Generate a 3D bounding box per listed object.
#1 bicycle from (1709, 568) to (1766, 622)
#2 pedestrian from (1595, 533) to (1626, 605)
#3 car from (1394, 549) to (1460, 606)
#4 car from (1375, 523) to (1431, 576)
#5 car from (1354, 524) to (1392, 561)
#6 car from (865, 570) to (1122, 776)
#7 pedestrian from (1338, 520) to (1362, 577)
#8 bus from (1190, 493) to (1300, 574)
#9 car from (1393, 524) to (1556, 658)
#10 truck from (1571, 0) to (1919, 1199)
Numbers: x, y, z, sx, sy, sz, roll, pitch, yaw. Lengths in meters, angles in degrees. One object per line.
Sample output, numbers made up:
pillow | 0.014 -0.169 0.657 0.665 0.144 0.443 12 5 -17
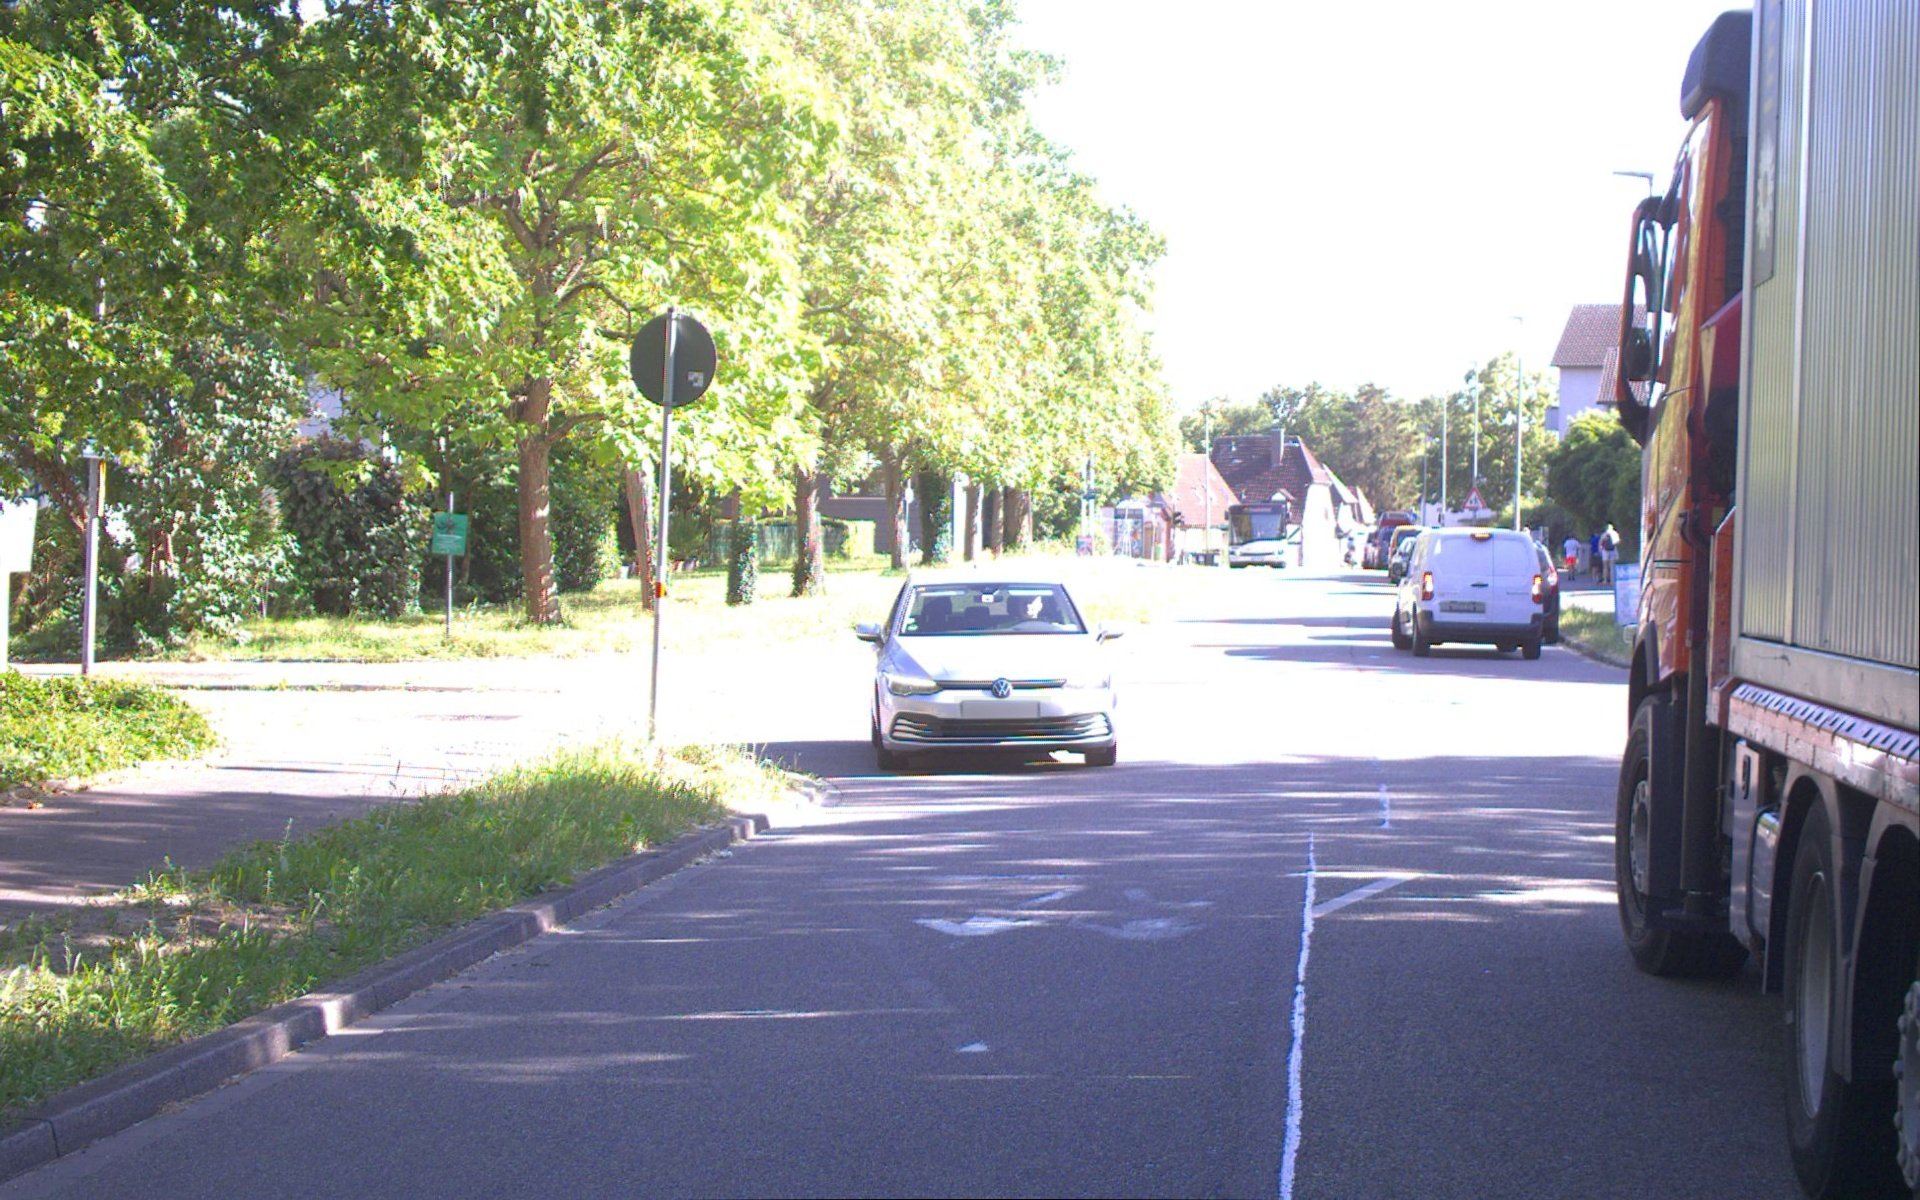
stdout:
bicycle | 15.467 -0.088 68.354 0.638 1.023 2.161 3 1 24
pedestrian | 18.507 -0.891 97.870 0.641 2.007 0.701 3 1 -1
car | 13.812 -0.684 101.893 1.781 1.647 3.999 0 1 5
car | 15.349 -1.741 119.216 1.781 1.802 3.999 0 1 5
car | 20.675 -2.866 172.134 1.781 1.802 3.999 0 1 5
car | 0.182 0.502 26.441 1.805 1.415 3.960 -1 1 -2
pedestrian | 14.658 -1.949 129.141 0.753 2.106 0.798 3 1 9
bus | 12.300 -2.860 147.468 4.066 3.337 9.797 0 1 9
car | 7.401 -0.155 49.794 1.947 1.836 4.000 1 1 3
truck | 3.483 -0.506 8.981 2.773 3.982 10.346 2 1 6
